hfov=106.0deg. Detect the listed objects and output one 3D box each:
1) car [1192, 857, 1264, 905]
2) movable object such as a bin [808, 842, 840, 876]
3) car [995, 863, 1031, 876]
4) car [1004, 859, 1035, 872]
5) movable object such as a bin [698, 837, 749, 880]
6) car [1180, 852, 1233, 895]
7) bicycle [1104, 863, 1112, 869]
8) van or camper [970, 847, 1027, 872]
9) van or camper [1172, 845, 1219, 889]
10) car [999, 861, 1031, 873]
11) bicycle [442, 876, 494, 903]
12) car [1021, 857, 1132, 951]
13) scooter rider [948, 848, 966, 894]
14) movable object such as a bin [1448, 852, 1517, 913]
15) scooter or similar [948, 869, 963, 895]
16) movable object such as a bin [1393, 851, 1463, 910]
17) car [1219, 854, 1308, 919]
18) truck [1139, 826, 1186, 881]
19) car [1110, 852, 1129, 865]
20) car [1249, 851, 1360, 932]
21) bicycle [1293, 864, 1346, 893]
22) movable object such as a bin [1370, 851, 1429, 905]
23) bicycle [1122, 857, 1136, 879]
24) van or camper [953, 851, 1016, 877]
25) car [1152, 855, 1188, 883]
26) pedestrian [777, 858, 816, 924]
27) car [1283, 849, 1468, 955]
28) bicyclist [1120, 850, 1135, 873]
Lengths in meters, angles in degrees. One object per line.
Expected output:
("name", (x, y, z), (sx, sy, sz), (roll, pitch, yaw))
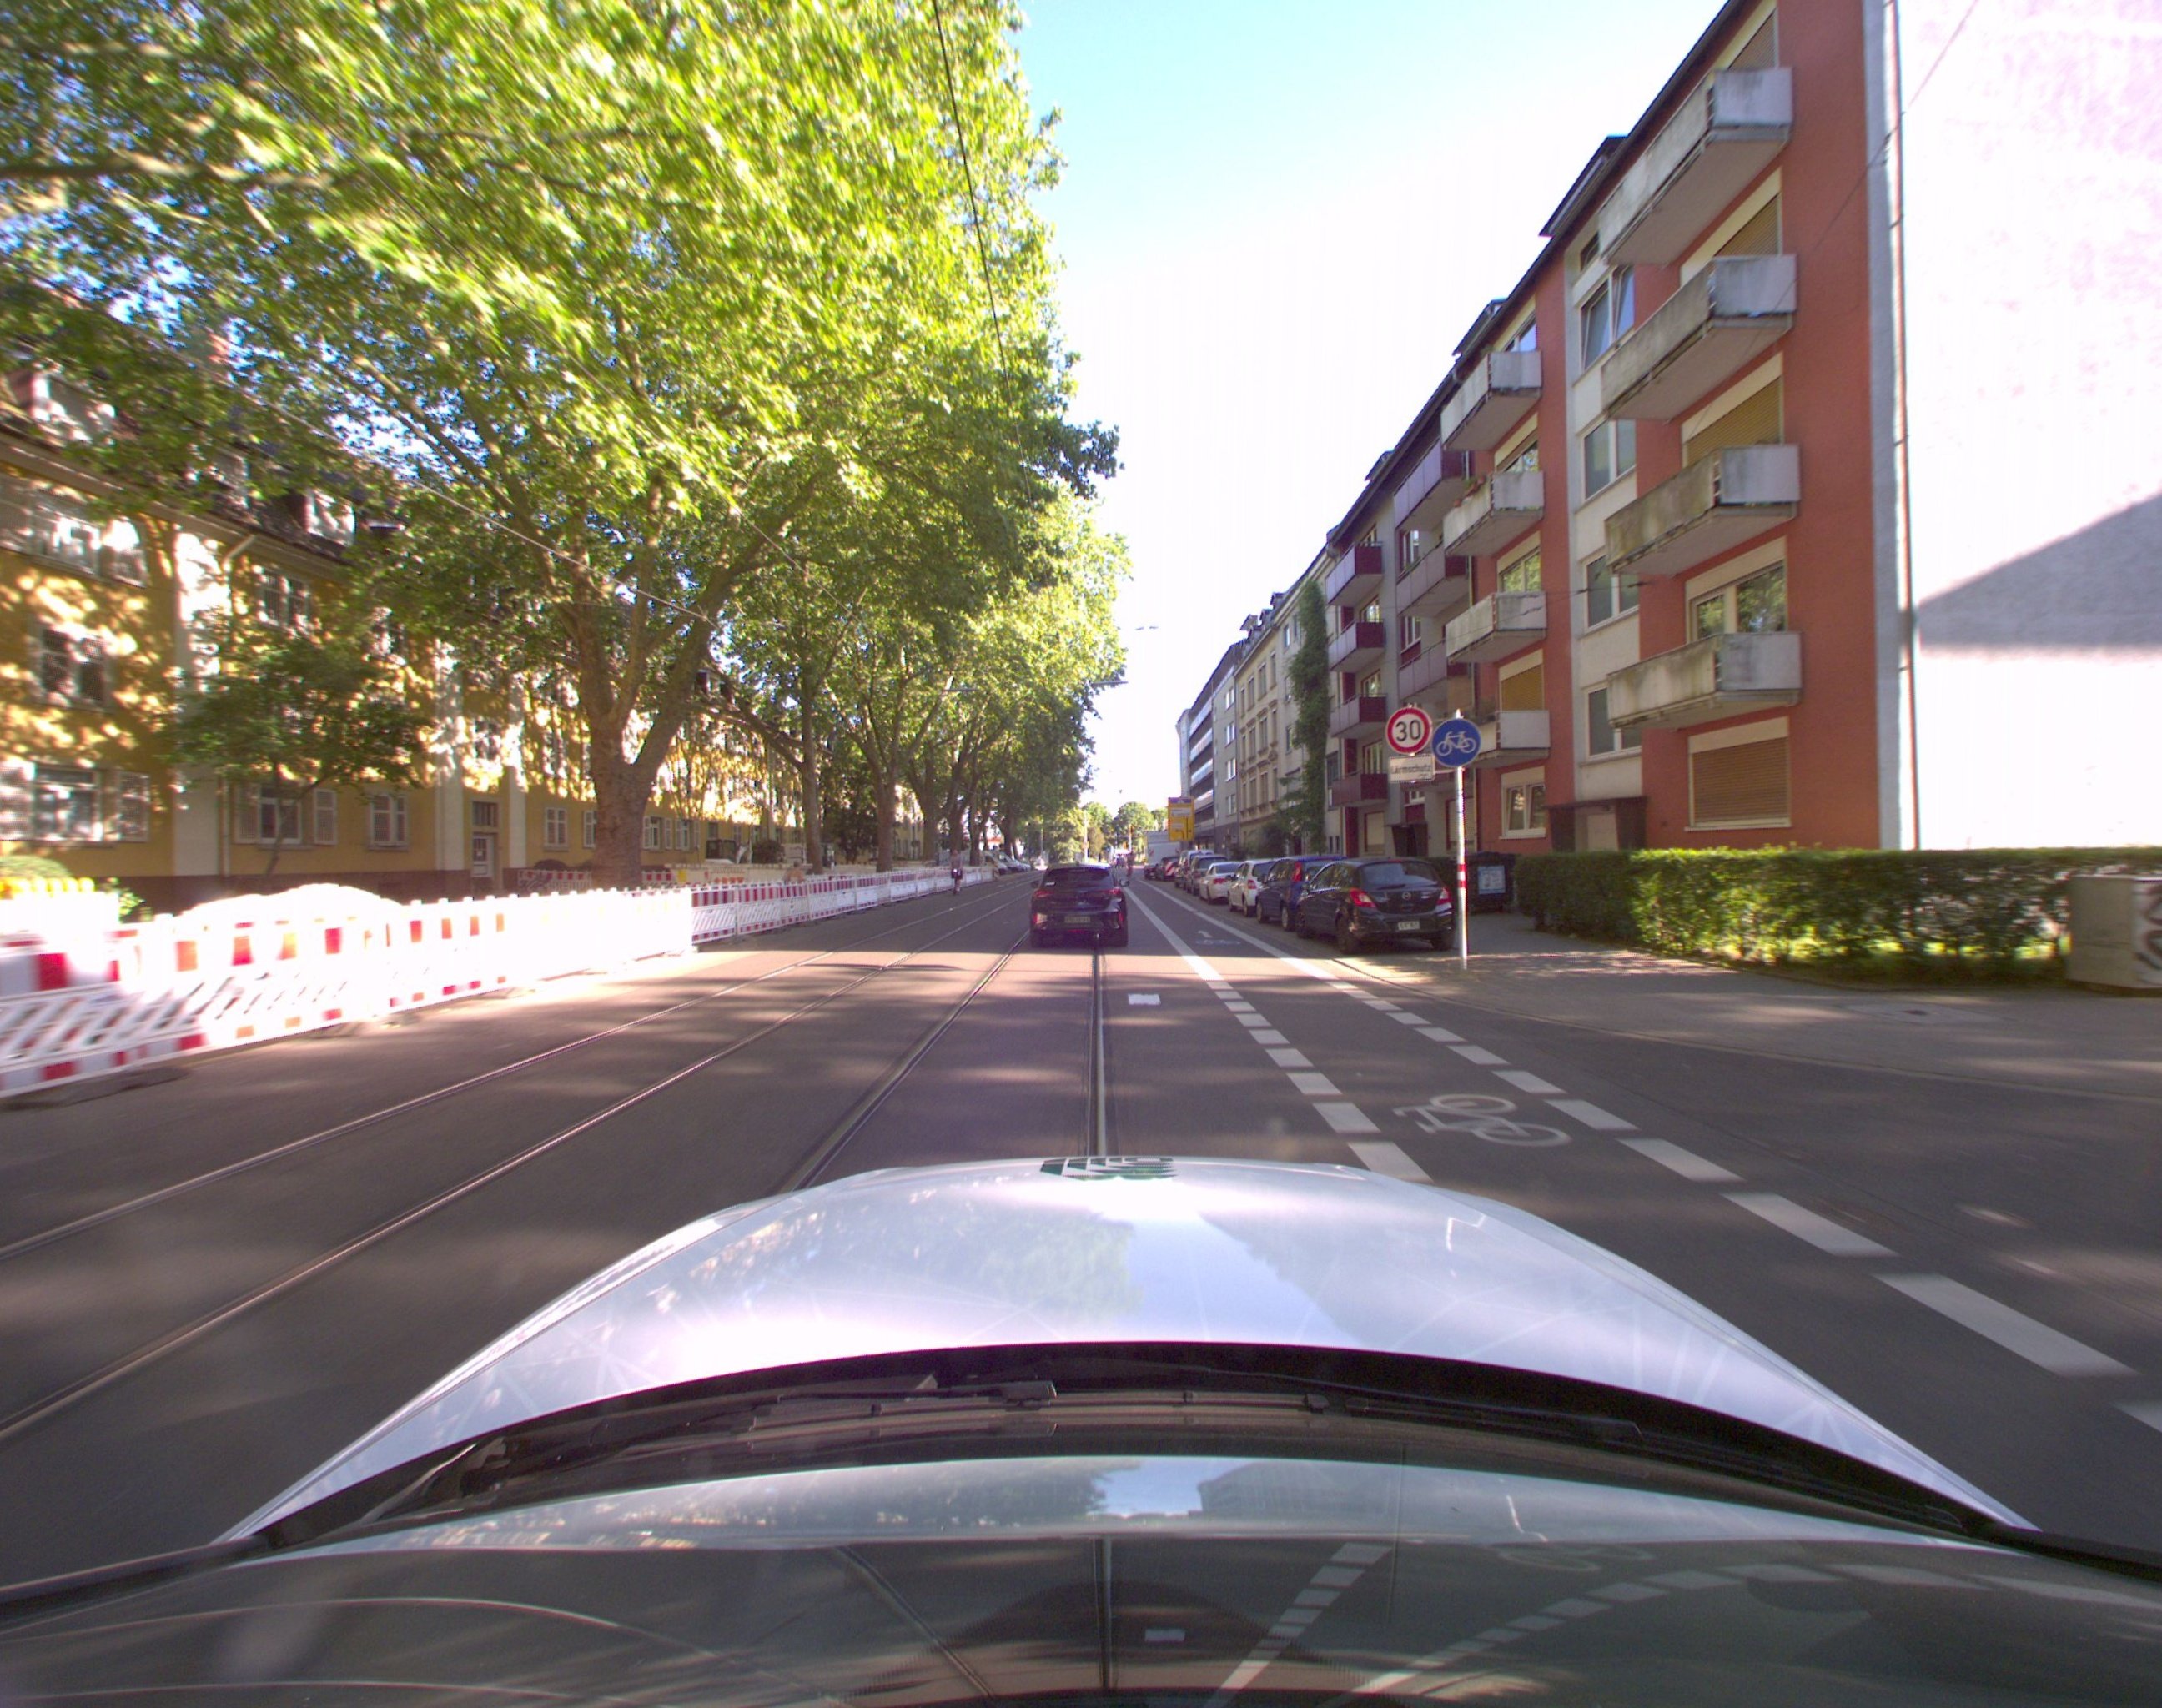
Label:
("car", (4.956, 0.862, 28.028), (1.653, 1.399, 4.740), (-3, 0, 1))
("movable object such as a bin", (-12.991, 0.260, 41.244), (1.094, 1.645, 1.560), (0, -1, 1))
("car", (-7.889, 1.764, 95.041), (3.971, 1.515, 1.650), (0, -1, 2))
("car", (-8.441, 1.566, 111.827), (4.157, 1.671, 1.963), (-1, -1, -2))
("movable object such as a bin", (-15.911, 0.194, 36.333), (1.328, 1.869, 2.008), (0, -1, 1))
("car", (5.021, 0.738, 32.983), (1.654, 1.580, 3.590), (-2, 0, 2))
("bicycle", (4.814, 2.094, 145.602), (0.782, 0.992, 2.253), (0, -1, 18))
("van or camper", (-8.621, 0.566, 85.797), (5.703, 2.644, 2.270), (0, -1, 1))
("van or camper", (5.249, 0.584, 37.882), (1.662, 1.883, 4.212), (-2, 0, 2))
("car", (-8.486, 1.646, 105.245), (3.971, 1.515, 1.650), (0, -1, 2))
("bicycle", (-19.947, 1.137, 26.518), (0.505, 0.819, 1.642), (-1, 0, -2))
("car", (-0.046, 0.802, 15.022), (1.775, 1.496, 4.000), (0, 0, 1))
("scooter rider", (-5.358, 0.736, 35.201), (0.647, 1.957, 0.624), (0, -1, 1))
("movable object such as a bin", (8.877, 0.621, 18.029), (1.148, 1.327, 0.775), (0, -1, 1))
("scooter or similar", (-5.396, 1.184, 35.126), (0.406, 1.083, 1.339), (0, -1, 2))
("movable object such as a bin", (8.203, 0.615, 19.319), (0.963, 1.327, 1.722), (0, -1, 1))
("car", (4.839, 0.824, 22.063), (1.585, 1.526, 3.836), (-3, -1, 2))
("truck", (5.418, -0.003, 55.096), (2.529, 3.338, 7.197), (-3, -1, 2))
("car", (5.696, 0.657, 120.998), (1.991, 1.695, 4.729), (-3, 0, -6))
("car", (4.794, 0.766, 17.911), (1.520, 1.590, 3.753), (0, -1, 2))
("bicycle", (9.304, 0.956, 31.841), (1.884, 1.029, 0.477), (-3, -1, 6))
("movable object such as a bin", (8.233, 0.606, 21.116), (0.920, 1.327, 1.682), (0, -1, 1))
("bicycle", (3.559, 1.016, 60.271), (0.911, 1.561, 3.409), (0, 0, 5))
("van or camper", (-8.991, 0.926, 76.357), (5.476, 2.379, 2.272), (0, -1, 4))
("car", (5.337, 0.879, 49.207), (1.724, 1.557, 4.153), (-3, -1, 2))
("pedestrian", (-7.390, 0.952, 21.193), (0.714, 1.669, 0.779), (0, -1, 1))
("car", (4.784, 0.705, 13.836), (1.727, 1.462, 3.916), (-3, 0, 1))
("bicyclist", (3.460, 0.552, 60.267), (1.084, 1.647, 1.402), (0, 0, 5))
